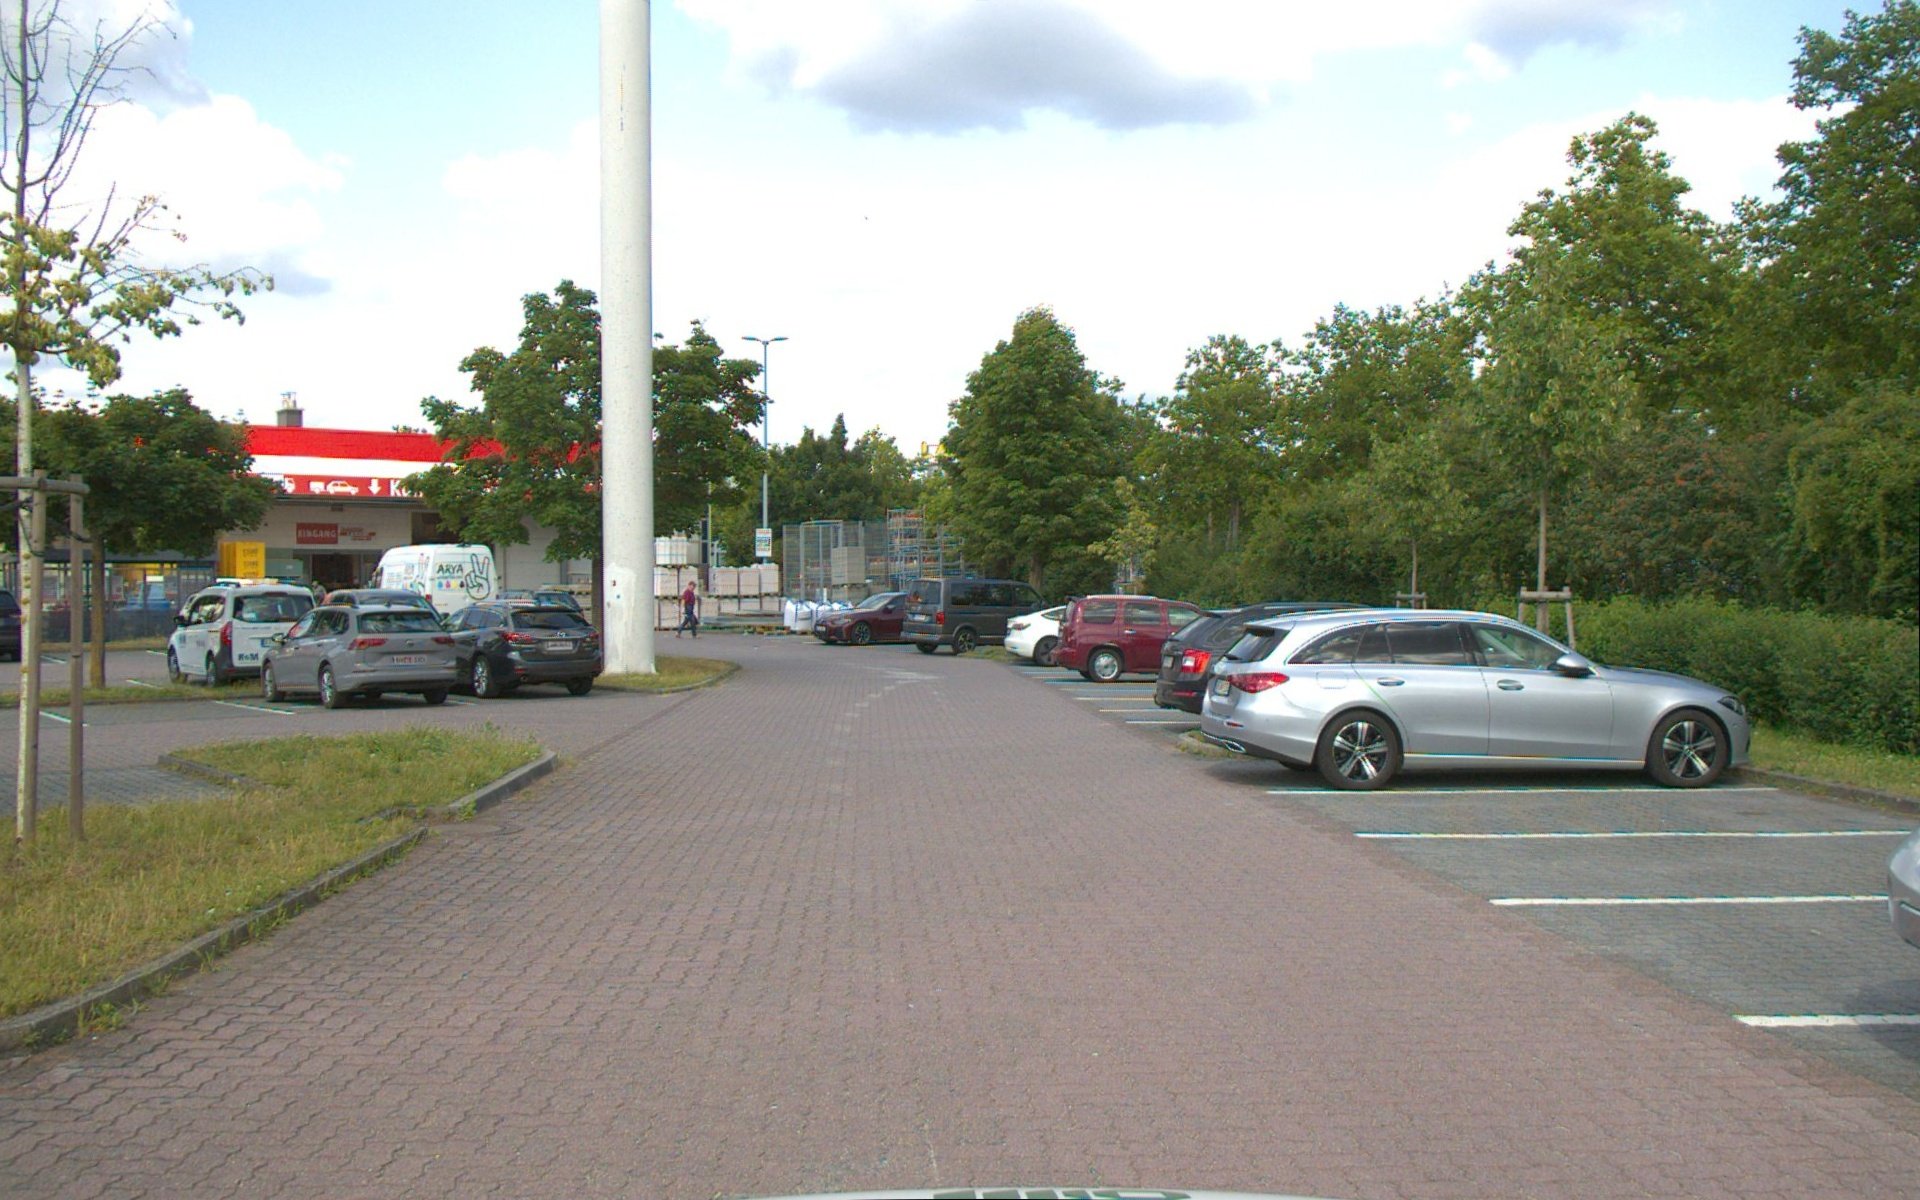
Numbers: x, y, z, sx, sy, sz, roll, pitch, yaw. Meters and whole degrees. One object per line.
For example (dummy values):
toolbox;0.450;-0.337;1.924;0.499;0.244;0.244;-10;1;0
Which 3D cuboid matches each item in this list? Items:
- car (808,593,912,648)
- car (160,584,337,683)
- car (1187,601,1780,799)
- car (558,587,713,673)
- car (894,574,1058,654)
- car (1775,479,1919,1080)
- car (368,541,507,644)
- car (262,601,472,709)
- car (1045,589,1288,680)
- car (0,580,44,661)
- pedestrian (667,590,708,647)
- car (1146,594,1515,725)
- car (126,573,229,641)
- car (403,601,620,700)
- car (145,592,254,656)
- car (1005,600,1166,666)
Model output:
car;-2.858;0.606;47.429;2.653;1.457;1.341;3;-3;-30
car;-12.725;0.552;29.477;1.892;1.624;3.943;-1;0;-39
car;4.395;0.799;14.289;4.547;1.531;1.783;-1;0;-4
car;-6.787;0.585;34.356;1.973;1.646;3.958;-1;0;-31
car;0.445;0.406;44.077;4.008;2.054;1.924;1;-2;-34
car;5.510;0.534;5.159;5.030;1.875;1.989;-1;0;-5
car;-13.820;-0.199;43.602;2.031;2.554;4.666;1;0;-37
car;-8.895;0.761;24.654;1.710;1.472;3.716;-1;0;-42
car;3.843;0.620;31.221;4.223;1.624;1.998;-1;0;-6
car;-21.694;0.435;36.777;1.748;1.551;3.422;-2;4;-39
pedestrian;-8.189;0.551;49.732;0.901;1.695;0.784;-1;0;24
car;4.269;0.701;19.381;3.909;1.405;1.697;1;-2;-5
car;-25.135;0.244;53.052;1.982;2.049;3.941;4;-3;-40
car;-7.342;0.756;26.867;1.812;1.464;4.028;-1;0;-42
car;-18.304;0.583;39.735;1.527;1.430;3.574;3;-3;-39
car;2.900;0.777;38.689;3.560;1.494;1.632;0;-1;-4
